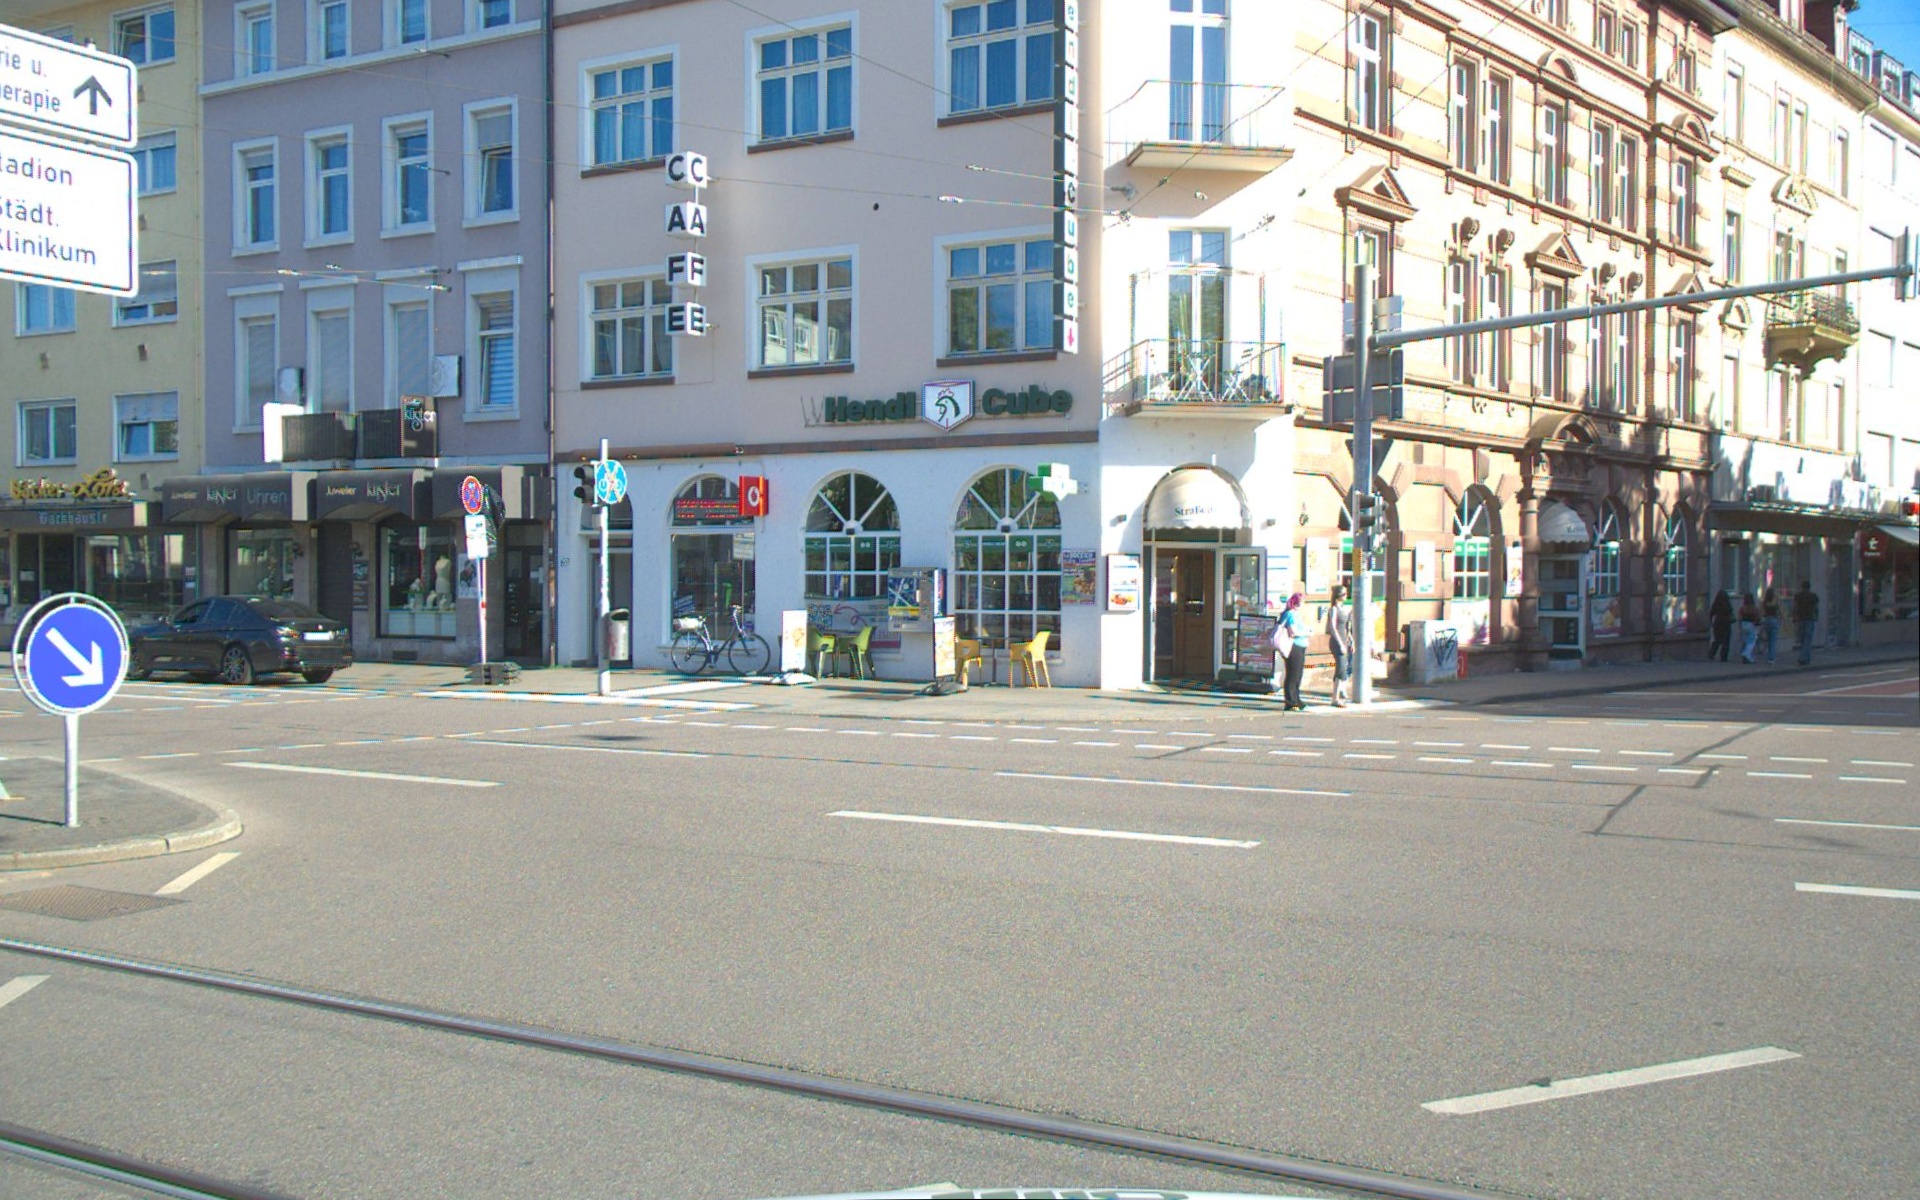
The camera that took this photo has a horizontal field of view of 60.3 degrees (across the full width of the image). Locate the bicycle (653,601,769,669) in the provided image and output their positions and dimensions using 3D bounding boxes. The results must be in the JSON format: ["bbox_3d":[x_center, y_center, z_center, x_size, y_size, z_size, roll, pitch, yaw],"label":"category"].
[{"bbox_3d":[-4.226,0.583,28.083,1.902,1.085,0.584,1,1,18],"label":"bicycle"}]

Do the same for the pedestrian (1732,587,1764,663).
[{"bbox_3d":[17.816,0.556,37.402,0.542,1.670,0.535,1,2,39],"label":"pedestrian"}]

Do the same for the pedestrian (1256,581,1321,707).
[{"bbox_3d":[4.468,0.579,22.484,0.665,1.670,0.575,1,2,41],"label":"pedestrian"}]

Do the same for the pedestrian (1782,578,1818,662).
[{"bbox_3d":[19.111,0.445,37.623,0.572,1.868,0.629,1,2,44],"label":"pedestrian"}]

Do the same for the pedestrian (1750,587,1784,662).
[{"bbox_3d":[18.461,0.558,37.822,0.542,1.670,0.629,1,2,41],"label":"pedestrian"}]

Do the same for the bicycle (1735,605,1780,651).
[{"bbox_3d":[19.854,0.684,41.144,0.488,1.085,1.758,1,2,44],"label":"bicycle"}]

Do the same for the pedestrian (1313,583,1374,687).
[{"bbox_3d":[5.865,0.522,25.300,0.683,1.550,0.656,1,2,41],"label":"pedestrian"}]

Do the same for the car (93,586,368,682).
[{"bbox_3d":[-12.414,0.529,28.110,4.548,1.465,1.743,1,1,26],"label":"car"}]

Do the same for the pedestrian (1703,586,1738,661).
[{"bbox_3d":[17.341,0.533,37.706,0.617,1.670,0.535,1,2,39],"label":"pedestrian"}]

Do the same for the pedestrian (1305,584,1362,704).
[{"bbox_3d":[5.368,0.619,23.771,0.621,1.670,0.549,1,2,41],"label":"pedestrian"}]

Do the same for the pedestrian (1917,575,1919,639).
[{"bbox_3d":[29.407,0.211,49.994,0.672,1.941,0.629,1,2,44],"label":"pedestrian"}]
